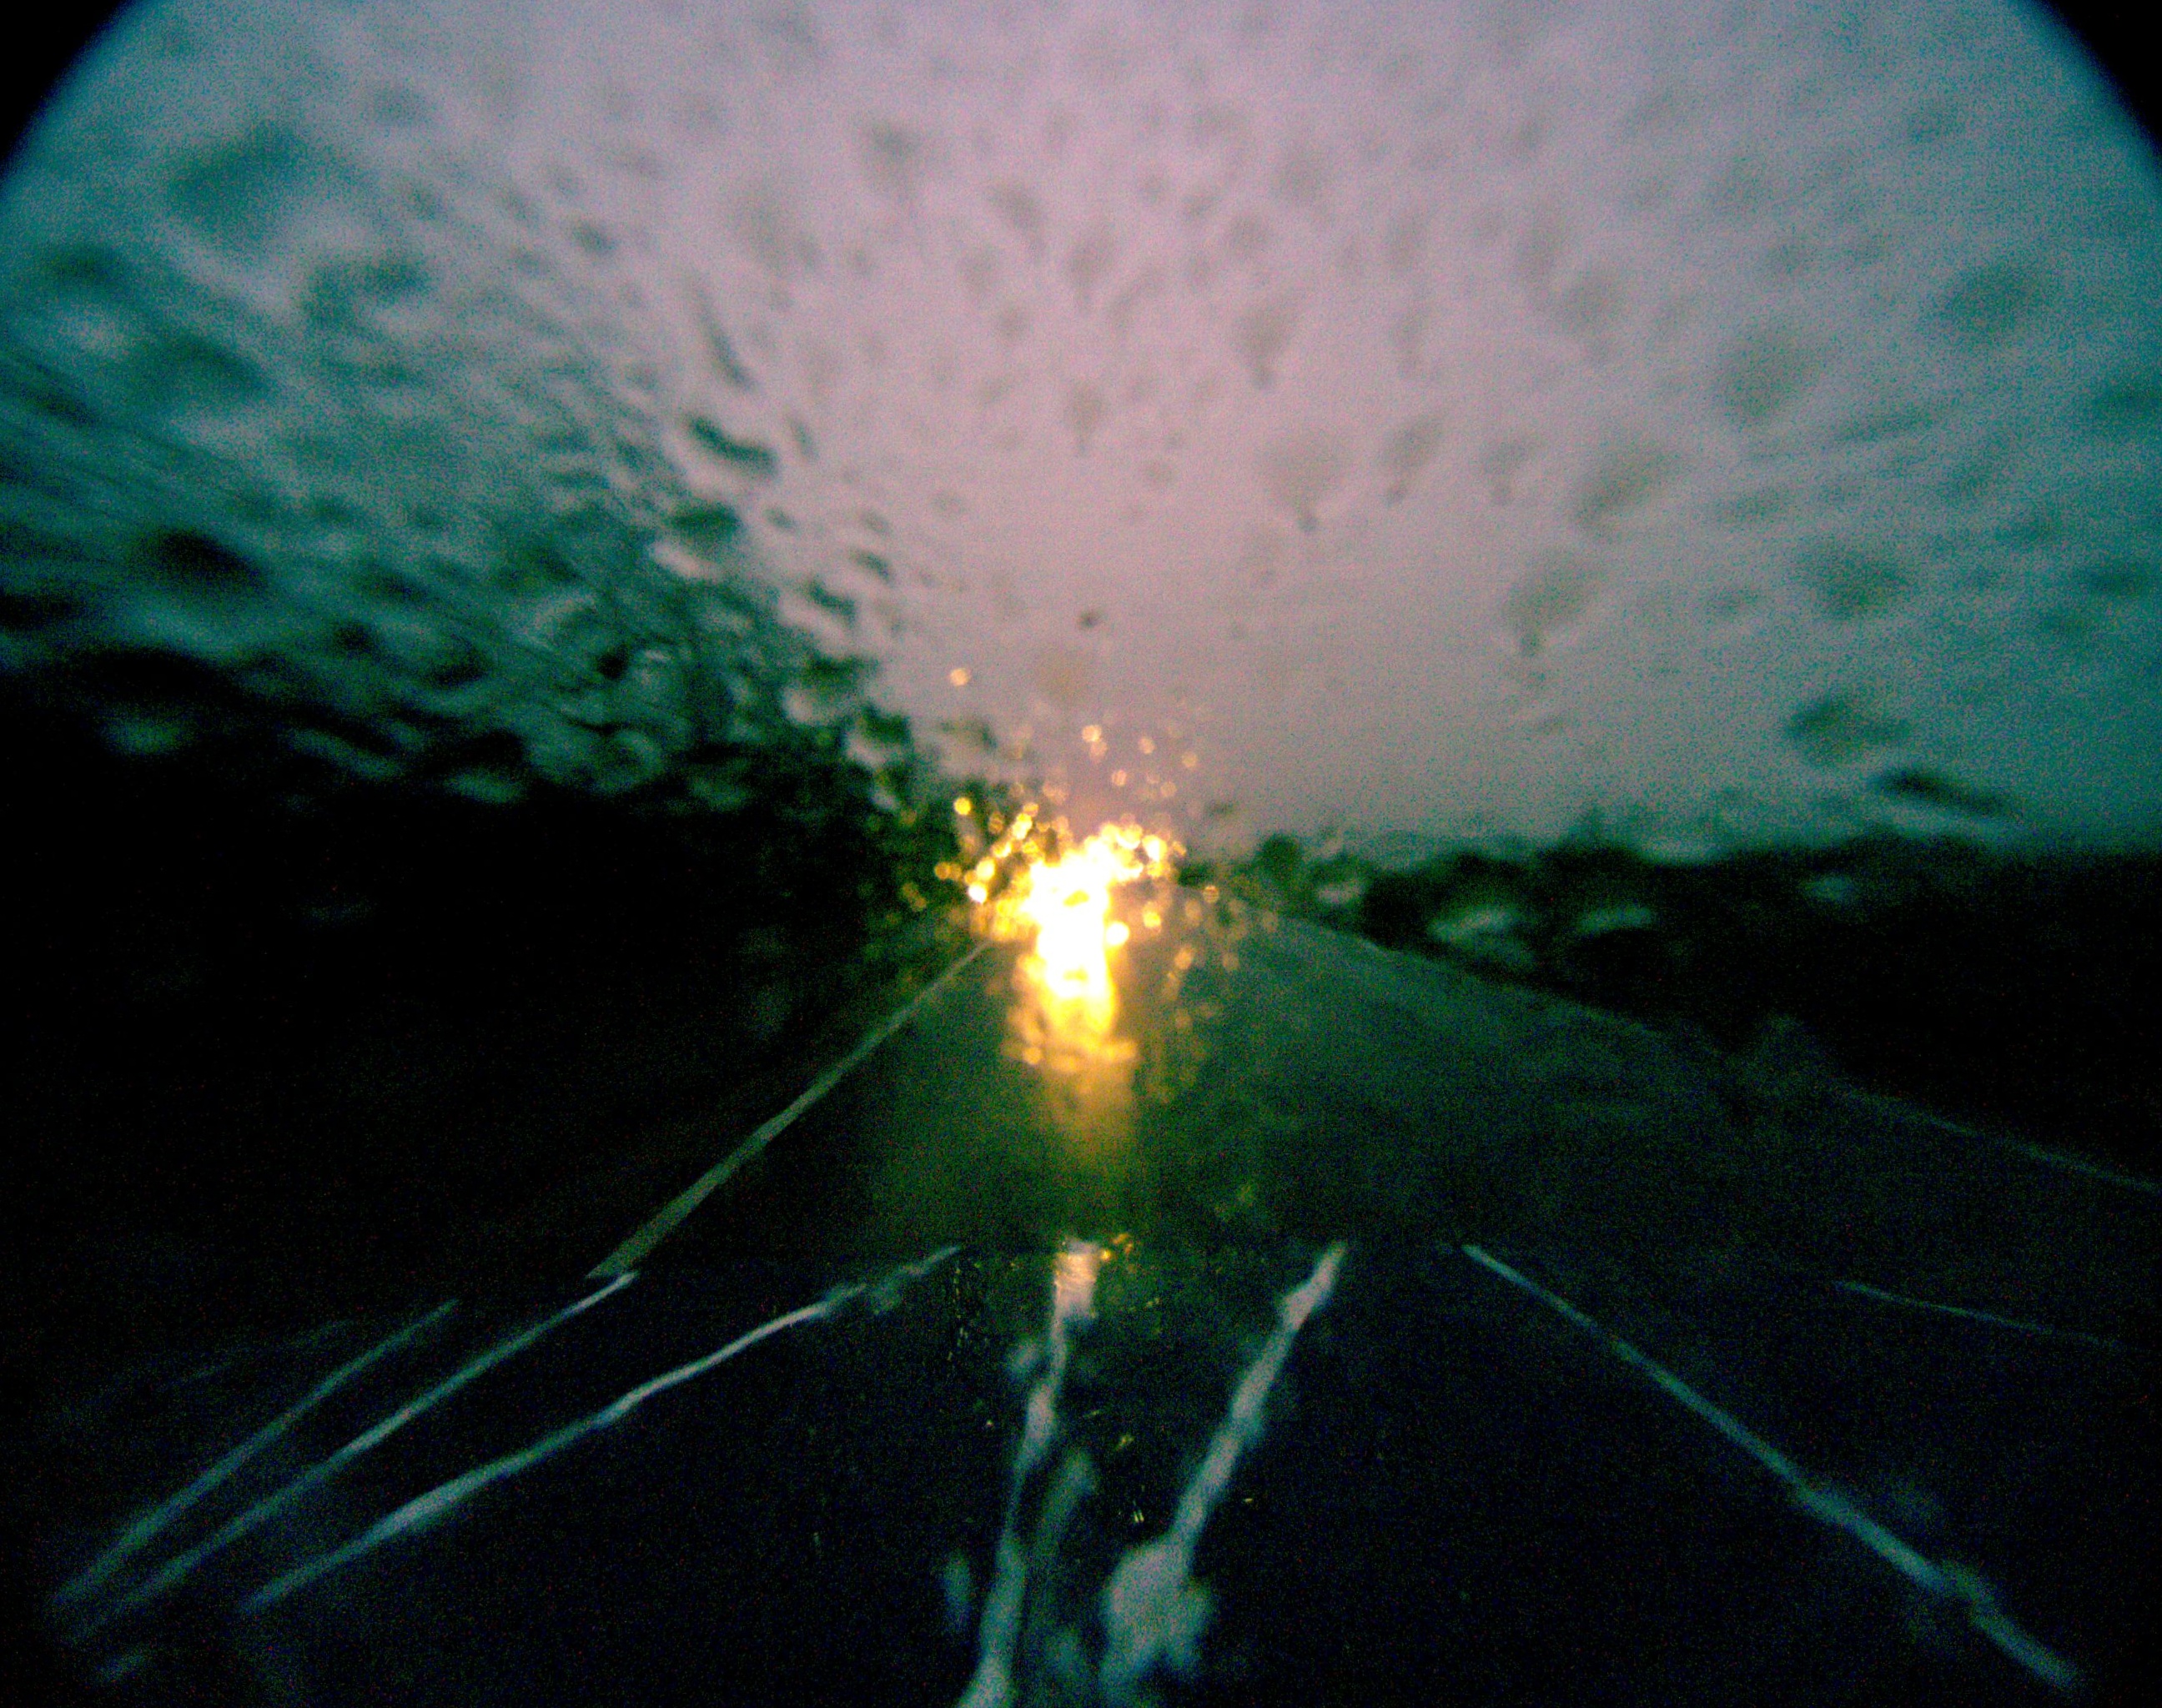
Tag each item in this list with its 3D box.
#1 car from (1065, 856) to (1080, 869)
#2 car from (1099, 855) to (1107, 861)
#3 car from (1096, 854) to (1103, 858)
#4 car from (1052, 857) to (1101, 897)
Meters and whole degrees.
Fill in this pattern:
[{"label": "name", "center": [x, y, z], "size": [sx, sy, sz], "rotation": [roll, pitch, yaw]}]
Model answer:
[{"label": "car", "center": [-1.132, 1.159, 105.717], "size": [1.933, 1.740, 4.000], "rotation": [-2, 0, 1]}, {"label": "car", "center": [6.091, 1.148, 211.896], "size": [1.998, 1.455, 4.351], "rotation": [3, 1, 1]}, {"label": "car", "center": [6.252, 0.766, 256.208], "size": [1.998, 1.364, 4.397], "rotation": [-2, 0, 1]}, {"label": "car", "center": [-0.171, 0.908, 31.696], "size": [1.844, 1.484, 3.956], "rotation": [-2, 0, 0]}]
